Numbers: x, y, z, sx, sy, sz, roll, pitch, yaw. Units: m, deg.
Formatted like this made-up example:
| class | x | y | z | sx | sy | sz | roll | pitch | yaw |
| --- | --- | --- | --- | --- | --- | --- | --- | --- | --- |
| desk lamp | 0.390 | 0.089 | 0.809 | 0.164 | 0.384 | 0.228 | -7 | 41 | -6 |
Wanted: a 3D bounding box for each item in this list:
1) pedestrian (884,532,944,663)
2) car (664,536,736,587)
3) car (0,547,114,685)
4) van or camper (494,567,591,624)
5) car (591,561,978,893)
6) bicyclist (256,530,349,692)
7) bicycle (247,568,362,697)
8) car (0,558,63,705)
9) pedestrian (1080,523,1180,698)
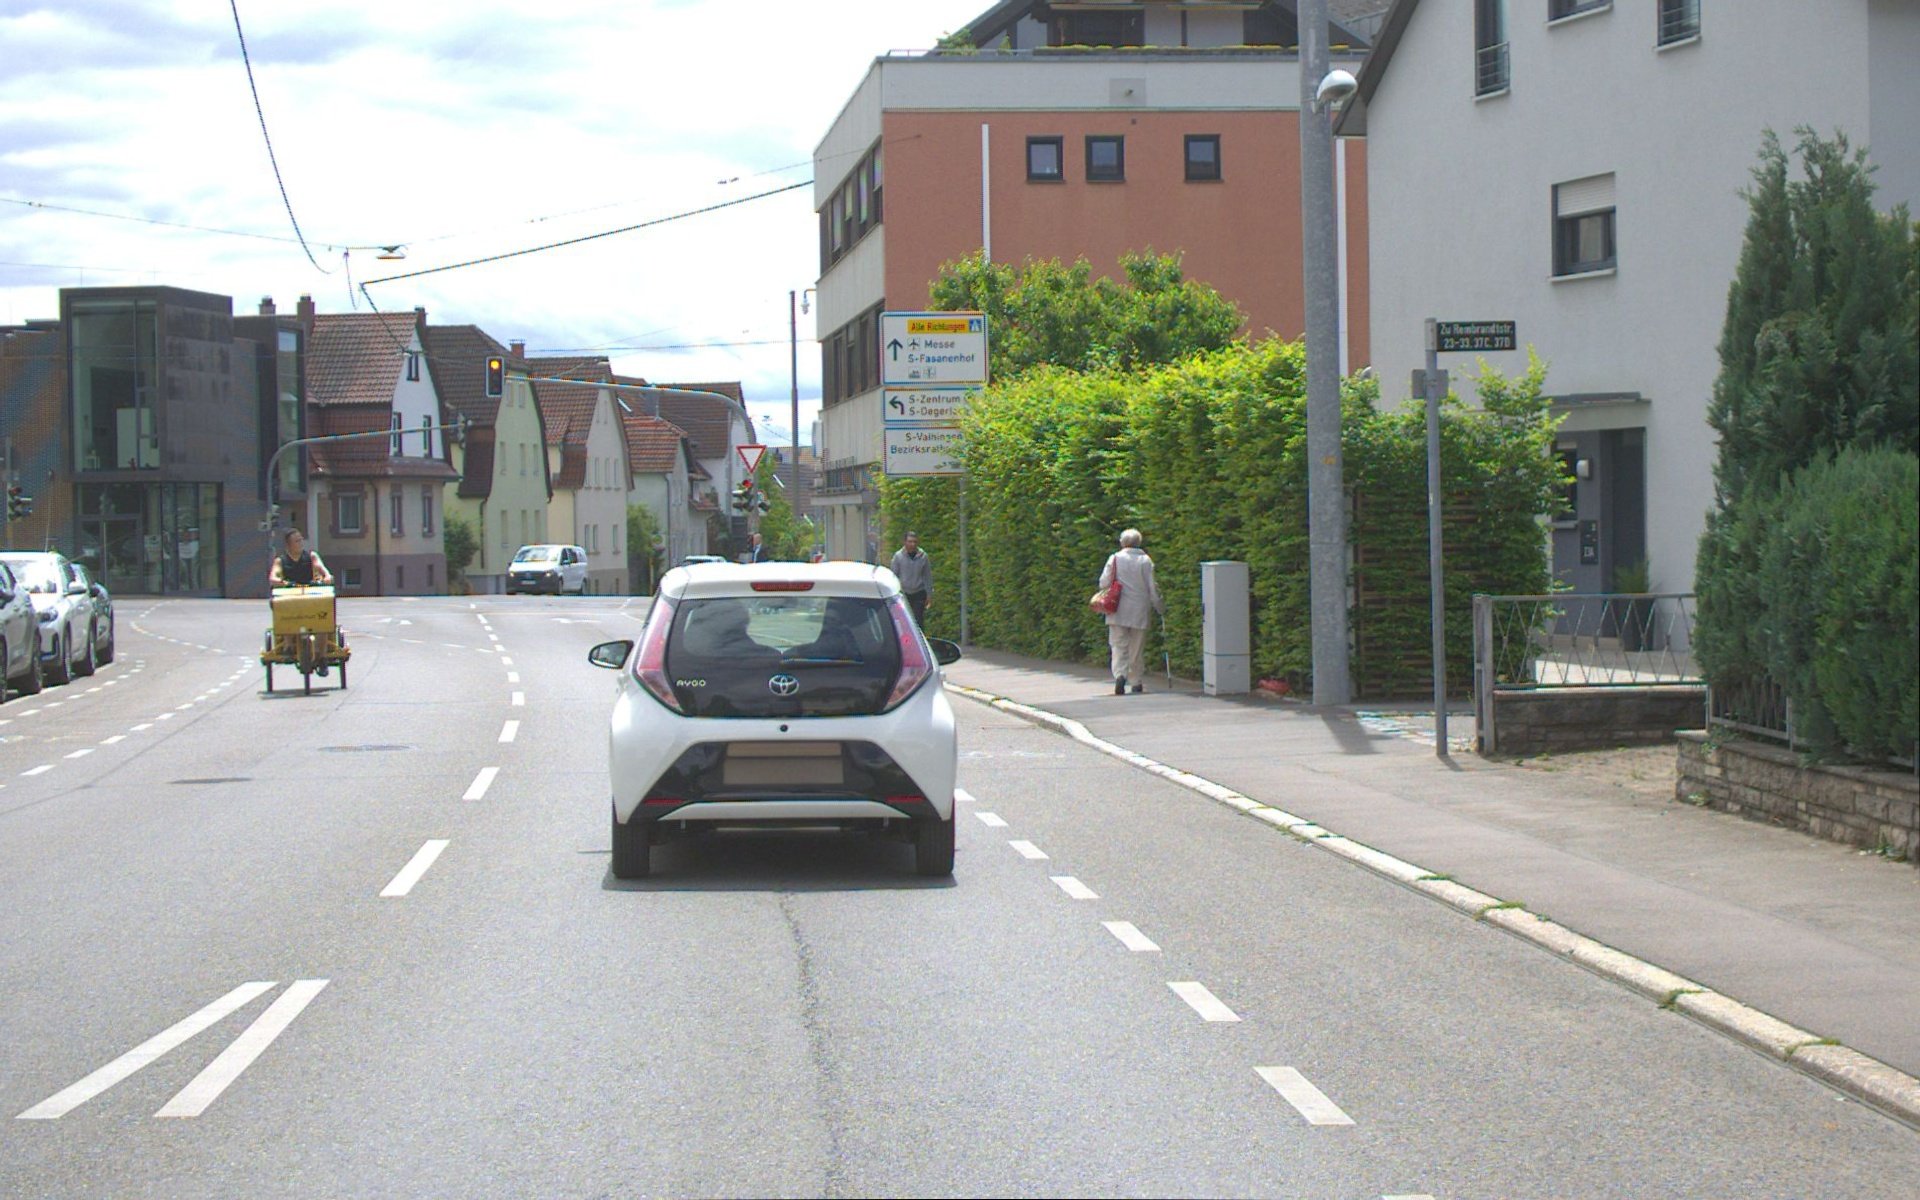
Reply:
| class | x | y | z | sx | sy | sz | roll | pitch | yaw |
| --- | --- | --- | --- | --- | --- | --- | --- | --- | --- |
| pedestrian | -0.581 | -0.033 | 43.040 | 0.602 | 1.600 | 0.836 | -3 | 1 | -6 |
| car | -9.977 | -1.473 | 132.051 | 1.994 | 1.897 | 3.999 | 1 | 0 | 7 |
| car | -12.002 | 0.172 | 43.501 | 1.993 | 1.645 | 4.518 | -1 | 1 | -7 |
| van or camper | -14.713 | -0.167 | 121.378 | 2.116 | 1.919 | 5.284 | 1 | 0 | 8 |
| car | -0.859 | 0.552 | 16.939 | 1.697 | 1.451 | 3.299 | 1 | 0 | -3 |
| bicyclist | -7.068 | 0.107 | 37.001 | 0.792 | 1.708 | 1.209 | -1 | 1 | -3 |
| bicycle | -7.025 | 0.325 | 36.970 | 0.863 | 1.297 | 2.662 | -1 | 1 | -4 |
| car | -11.418 | 0.333 | 38.331 | 1.993 | 1.558 | 4.690 | -1 | 1 | -5 |
| pedestrian | 1.613 | 0.091 | 32.624 | 0.798 | 1.612 | 0.653 | -2 | 1 | -6 |
